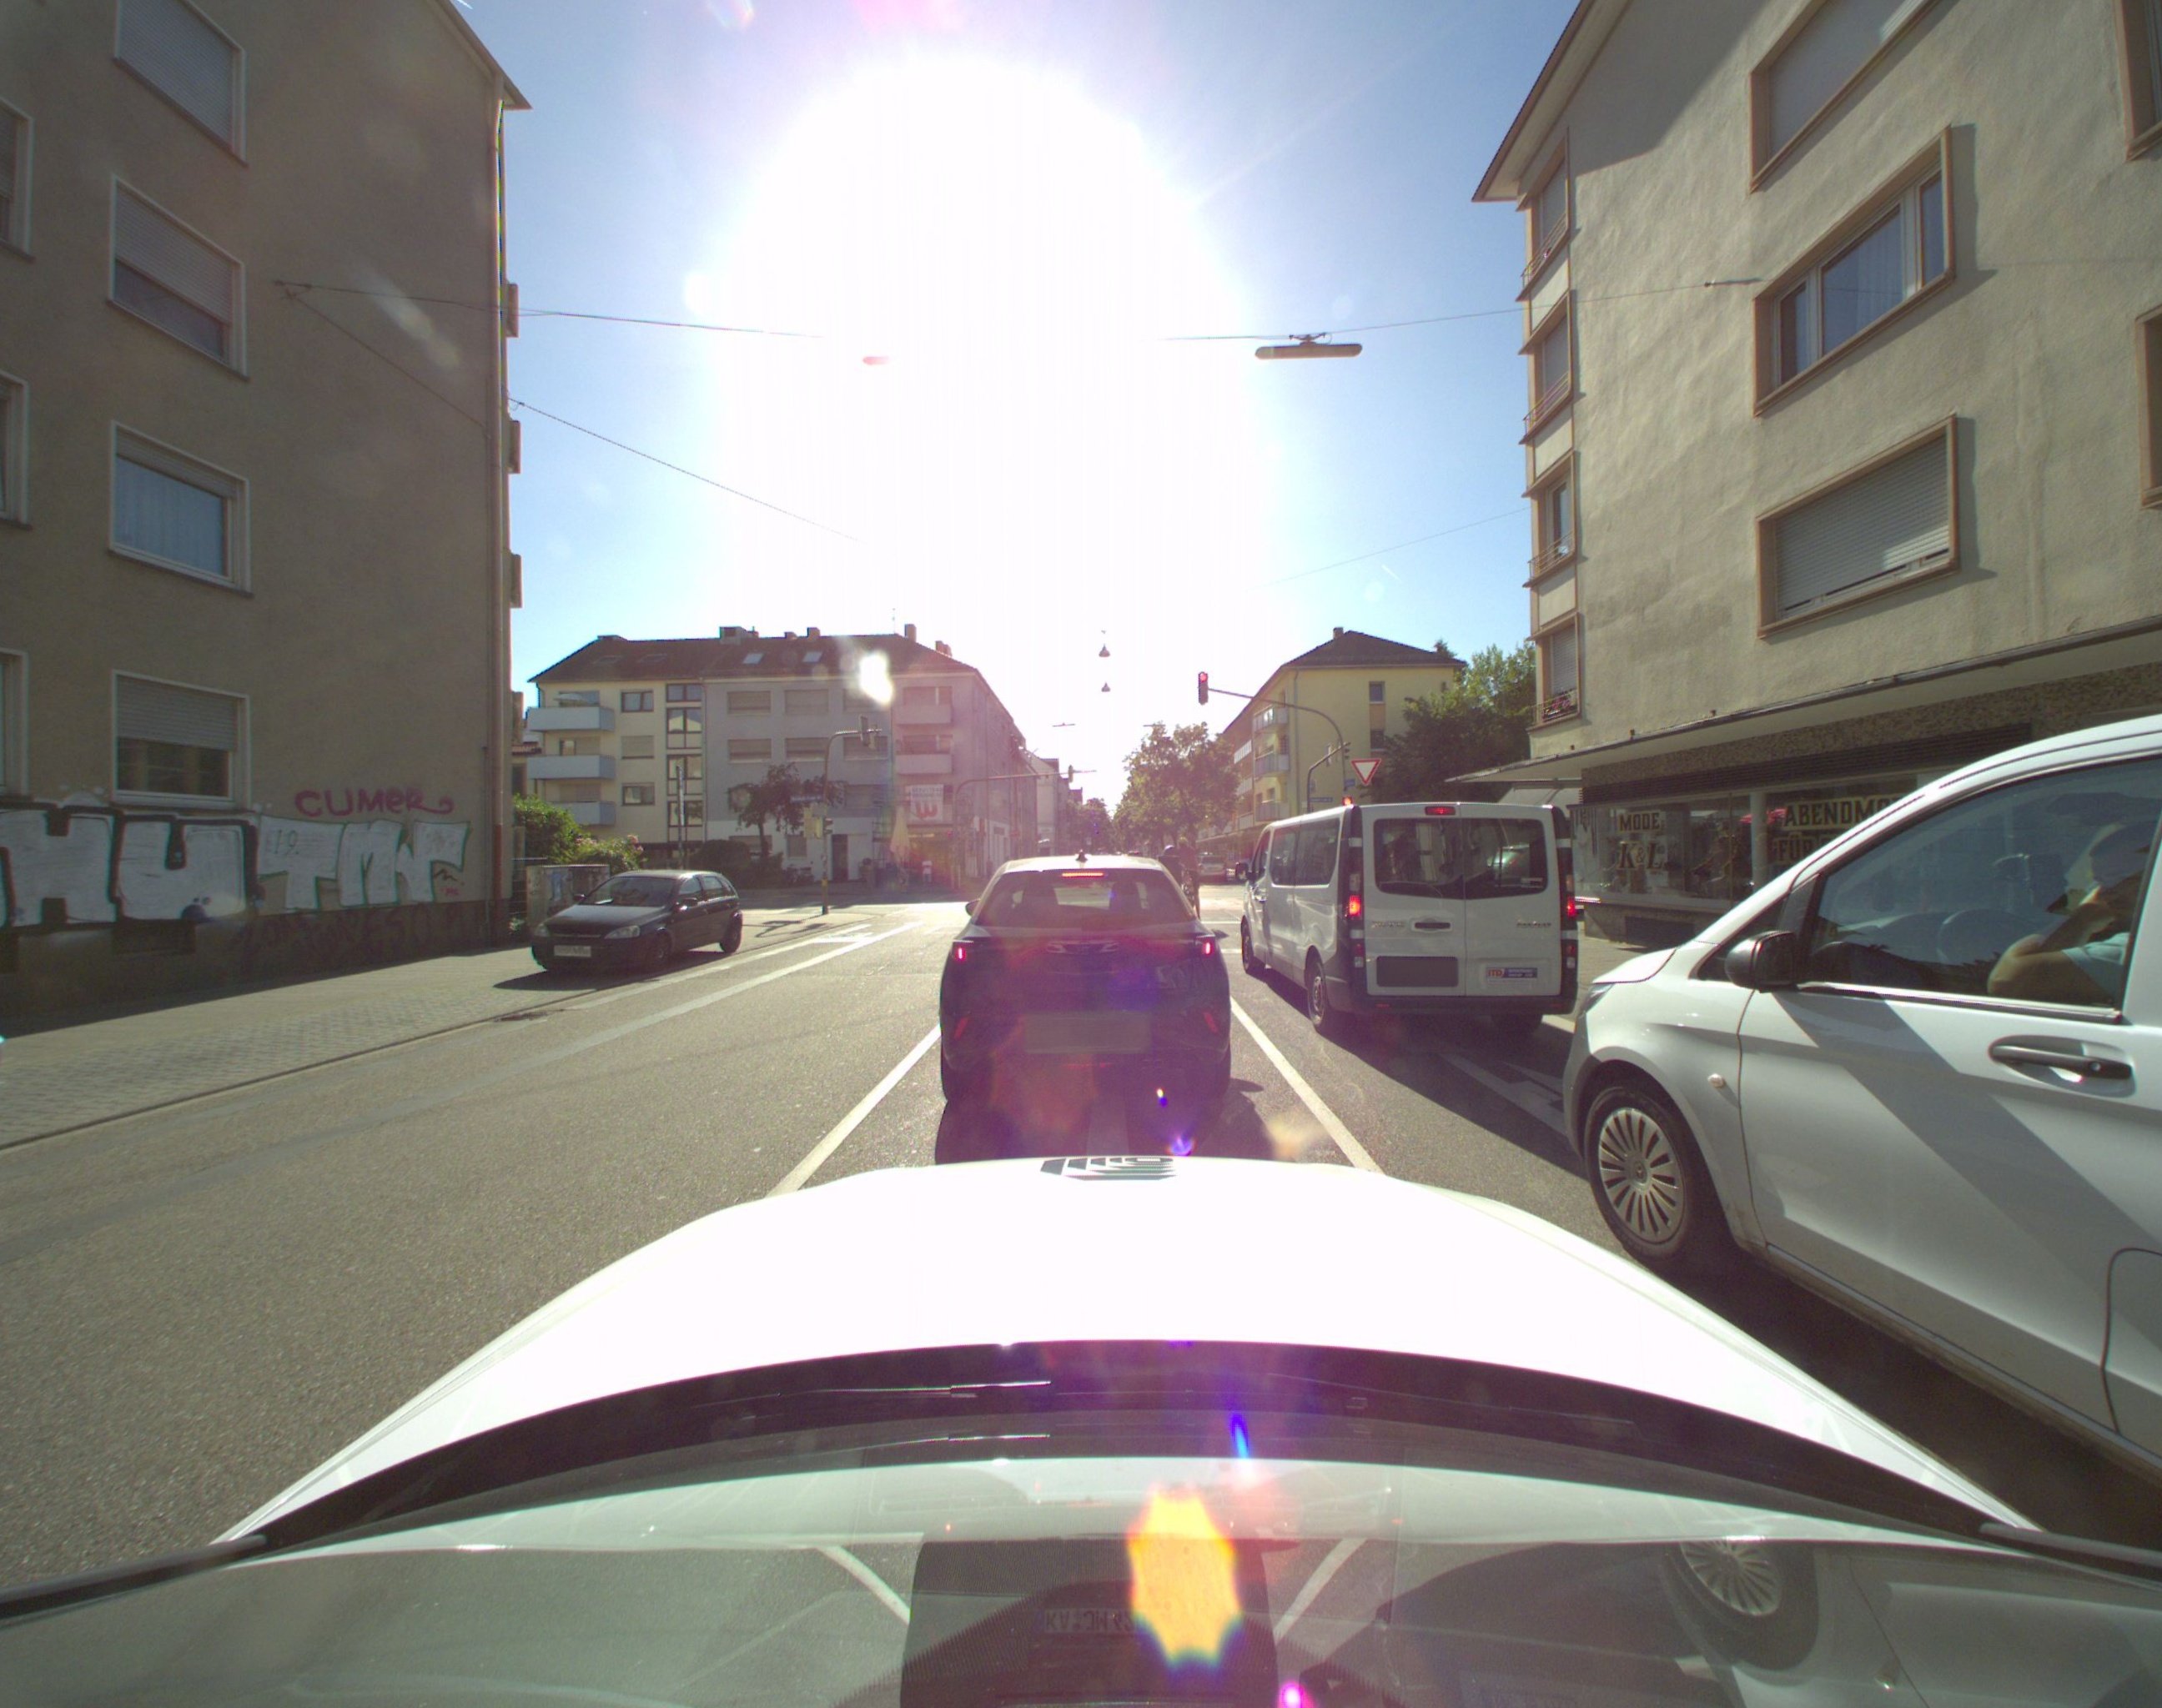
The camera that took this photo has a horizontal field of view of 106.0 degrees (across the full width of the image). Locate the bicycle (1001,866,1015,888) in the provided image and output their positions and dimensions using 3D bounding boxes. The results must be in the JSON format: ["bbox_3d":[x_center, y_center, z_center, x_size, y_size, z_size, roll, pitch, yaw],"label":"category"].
[{"bbox_3d":[-3.963,1.230,44.202,0.520,1.147,2.283,-1,0,0],"label":"bicycle"}]

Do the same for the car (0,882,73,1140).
[{"bbox_3d":[-7.114,0.911,2.602,1.711,1.465,4.817,0,0,1],"label":"car"}]

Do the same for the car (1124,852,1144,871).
[{"bbox_3d":[5.214,0.732,80.356,1.894,1.728,4.076,-1,0,3],"label":"car"}]

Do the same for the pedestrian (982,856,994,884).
[{"bbox_3d":[-5.301,0.909,46.395,0.615,1.521,0.724,-1,0,-1],"label":"pedestrian"}]

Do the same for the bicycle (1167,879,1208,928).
[{"bbox_3d":[2.288,1.040,17.699,0.575,0.904,2.301,-1,0,0],"label":"bicycle"}]

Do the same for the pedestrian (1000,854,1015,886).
[{"bbox_3d":[-3.935,0.845,43.834,0.704,1.678,0.802,-1,0,0],"label":"pedestrian"}]

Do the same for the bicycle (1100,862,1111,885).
[{"bbox_3d":[1.329,1.042,43.809,0.520,1.147,2.170,-1,0,0],"label":"bicycle"}]

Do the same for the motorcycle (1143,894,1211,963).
[{"bbox_3d":[1.402,1.078,12.220,0.822,0.845,1.885,-1,0,1],"label":"motorcycle"}]

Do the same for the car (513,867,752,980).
[{"bbox_3d":[-6.774,0.965,12.798,1.610,1.425,3.711,1,0,1],"label":"car"}]

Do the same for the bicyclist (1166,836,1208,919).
[{"bbox_3d":[2.275,0.484,17.570,0.687,1.712,1.414,-1,0,0],"label":"bicyclist"}]

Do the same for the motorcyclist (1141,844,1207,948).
[{"bbox_3d":[1.399,0.609,12.467,0.861,1.502,1.160,-1,0,1],"label":"motorcyclist"}]

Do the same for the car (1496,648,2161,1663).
[{"bbox_3d":[2.903,0.542,1.267,1.831,1.869,4.993,-1,0,-2],"label":"car"}]

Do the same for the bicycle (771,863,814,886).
[{"bbox_3d":[-15.331,1.076,43.320,2.103,1.172,0.735,-1,0,-22],"label":"bicycle"}]

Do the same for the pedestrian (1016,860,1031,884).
[{"bbox_3d":[-3.086,0.940,43.734,0.704,1.253,0.802,-1,0,0],"label":"pedestrian"}]

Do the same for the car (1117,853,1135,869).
[{"bbox_3d":[5.077,0.817,92.234,1.894,1.728,4.003,-1,0,2],"label":"car"}]

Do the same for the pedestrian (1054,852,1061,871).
[{"bbox_3d":[-2.157,0.659,74.361,0.568,1.690,0.588,-1,0,1],"label":"pedestrian"}]

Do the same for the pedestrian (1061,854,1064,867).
[{"bbox_3d":[-2.430,0.839,105.895,0.400,1.675,0.418,-1,0,1],"label":"pedestrian"}]

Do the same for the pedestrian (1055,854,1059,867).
[{"bbox_3d":[-3.122,0.900,106.275,0.400,1.675,0.418,-1,0,1],"label":"pedestrian"}]

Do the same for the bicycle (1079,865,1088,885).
[{"bbox_3d":[0.141,1.126,44.124,0.442,0.992,2.068,-1,0,0],"label":"bicycle"}]

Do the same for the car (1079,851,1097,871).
[{"bbox_3d":[0.817,0.761,88.416,1.848,2.013,3.882,-1,0,2],"label":"car"}]

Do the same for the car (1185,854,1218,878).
[{"bbox_3d":[7.616,0.757,51.829,1.628,1.433,4.002,-1,0,2],"label":"car"}]

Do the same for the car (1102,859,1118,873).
[{"bbox_3d":[3.694,1.491,102.644,1.817,1.728,4.004,-1,0,3],"label":"car"}]

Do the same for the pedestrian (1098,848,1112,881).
[{"bbox_3d":[1.291,0.560,43.668,0.704,1.701,0.802,-1,0,0],"label":"pedestrian"}]

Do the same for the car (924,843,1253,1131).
[{"bbox_3d":[0.049,0.722,6.438,1.765,1.530,3.999,-1,0,0],"label":"car"}]

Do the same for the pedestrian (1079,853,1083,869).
[{"bbox_3d":[0.008,0.772,90.074,0.486,1.690,0.588,-1,0,1],"label":"pedestrian"}]

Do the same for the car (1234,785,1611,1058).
[{"bbox_3d":[2.985,0.498,8.475,1.986,1.979,4.897,1,0,2],"label":"car"}]

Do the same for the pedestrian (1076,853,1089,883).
[{"bbox_3d":[0.102,0.731,43.956,0.678,1.606,0.762,-1,0,0],"label":"pedestrian"}]

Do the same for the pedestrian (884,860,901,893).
[{"bbox_3d":[-8.741,1.043,37.759,0.582,1.521,0.649,-1,0,-1],"label":"pedestrian"}]

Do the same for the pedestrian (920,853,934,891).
[{"bbox_3d":[-7.250,0.846,38.387,0.560,1.775,0.582,-1,0,-7],"label":"pedestrian"}]

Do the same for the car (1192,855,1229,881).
[{"bbox_3d":[7.455,0.783,47.232,1.628,1.433,3.958,-1,0,2],"label":"car"}]

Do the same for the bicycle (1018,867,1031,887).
[{"bbox_3d":[-3.054,1.218,44.090,0.520,0.992,2.339,-1,0,0],"label":"bicycle"}]

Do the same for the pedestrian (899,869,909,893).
[{"bbox_3d":[-8.217,1.249,37.795,0.354,1.092,0.461,-1,0,-1],"label":"pedestrian"}]
